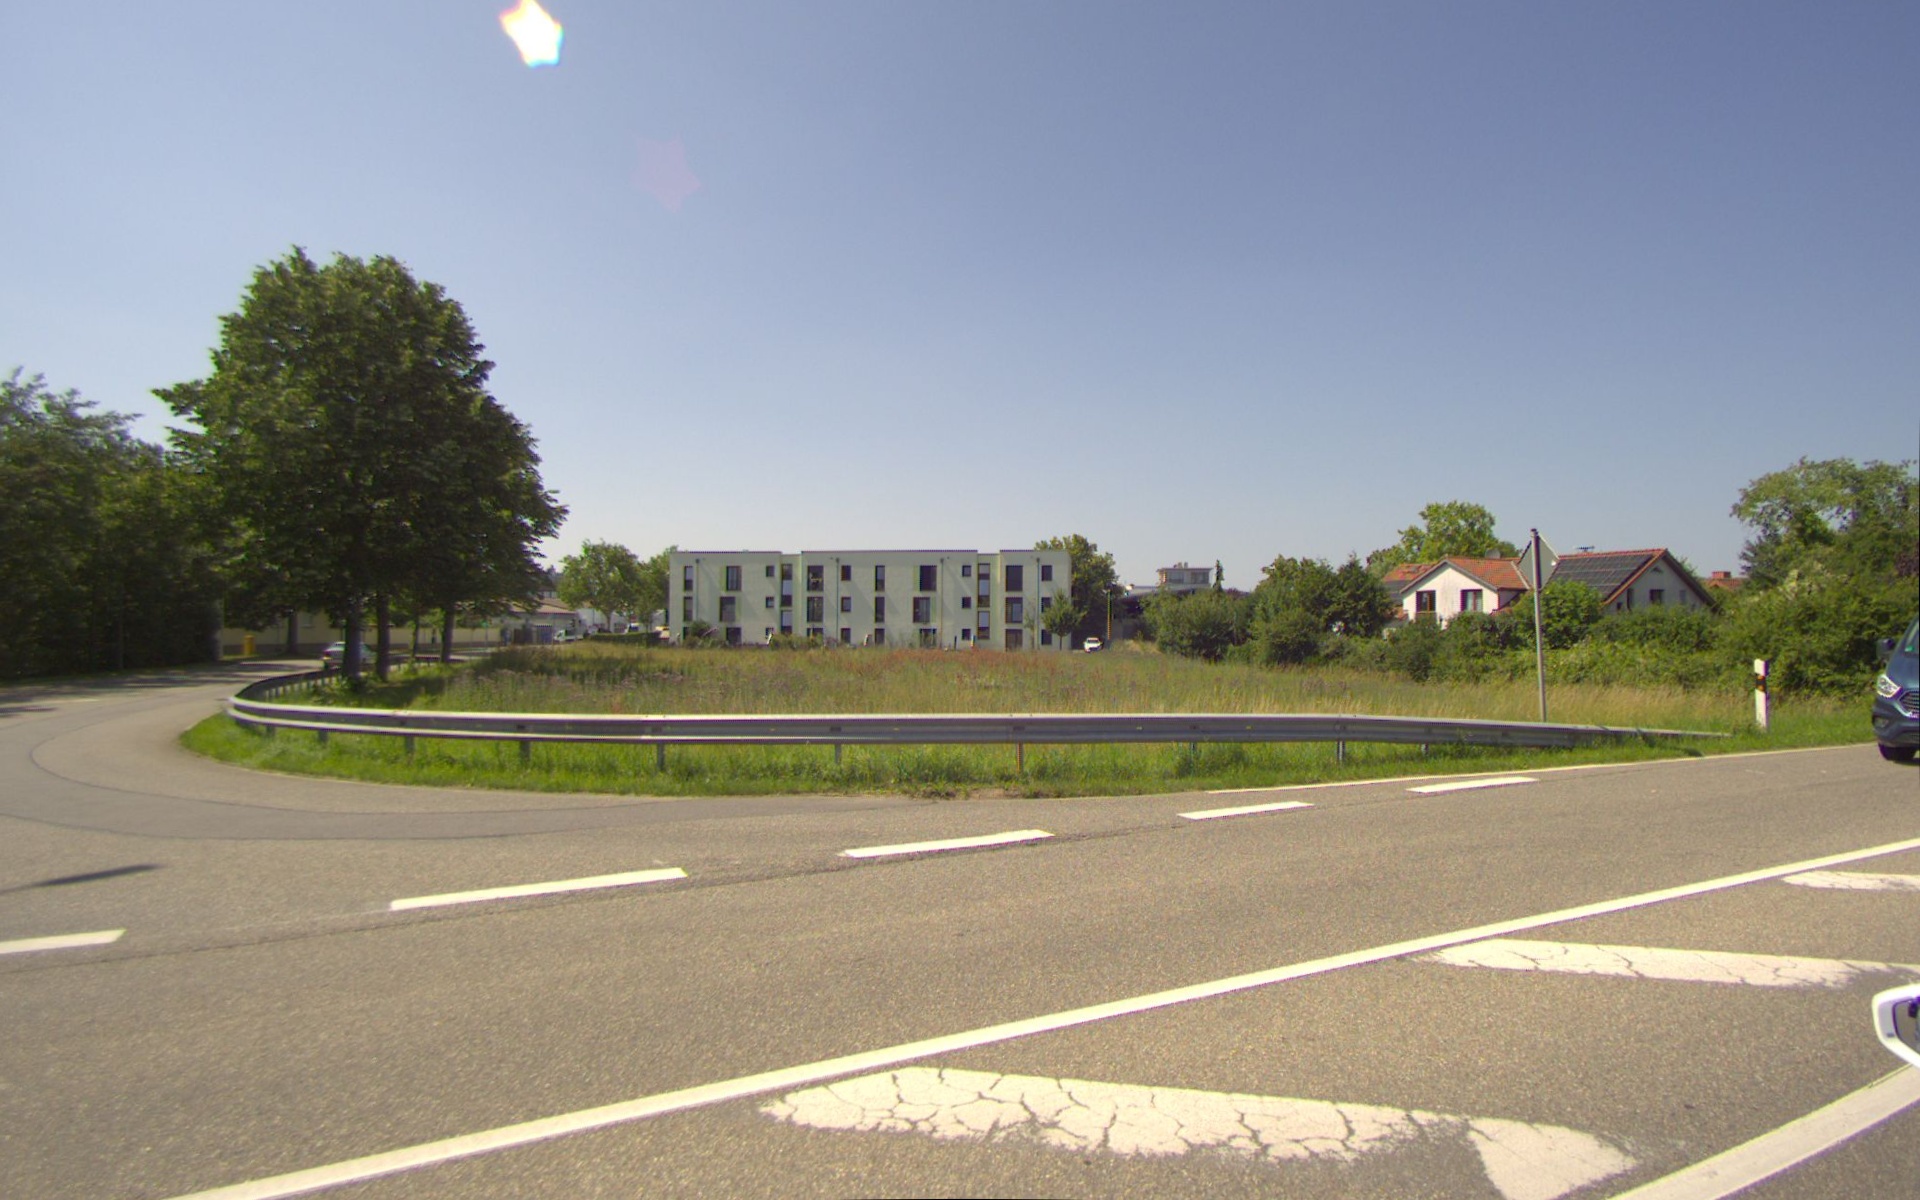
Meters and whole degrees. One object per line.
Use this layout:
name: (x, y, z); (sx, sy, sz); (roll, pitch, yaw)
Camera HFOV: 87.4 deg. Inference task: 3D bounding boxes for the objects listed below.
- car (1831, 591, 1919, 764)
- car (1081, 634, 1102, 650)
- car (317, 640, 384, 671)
car: (13.363, 0.912, 12.541); (5.184, 1.977, 2.135); (1, -2, -30)
car: (13.774, 4.383, 105.206); (1.789, 1.639, 4.002); (1, -1, 3)
car: (-31.113, 2.799, 51.380); (1.613, 1.490, 4.404); (0, -2, -13)
